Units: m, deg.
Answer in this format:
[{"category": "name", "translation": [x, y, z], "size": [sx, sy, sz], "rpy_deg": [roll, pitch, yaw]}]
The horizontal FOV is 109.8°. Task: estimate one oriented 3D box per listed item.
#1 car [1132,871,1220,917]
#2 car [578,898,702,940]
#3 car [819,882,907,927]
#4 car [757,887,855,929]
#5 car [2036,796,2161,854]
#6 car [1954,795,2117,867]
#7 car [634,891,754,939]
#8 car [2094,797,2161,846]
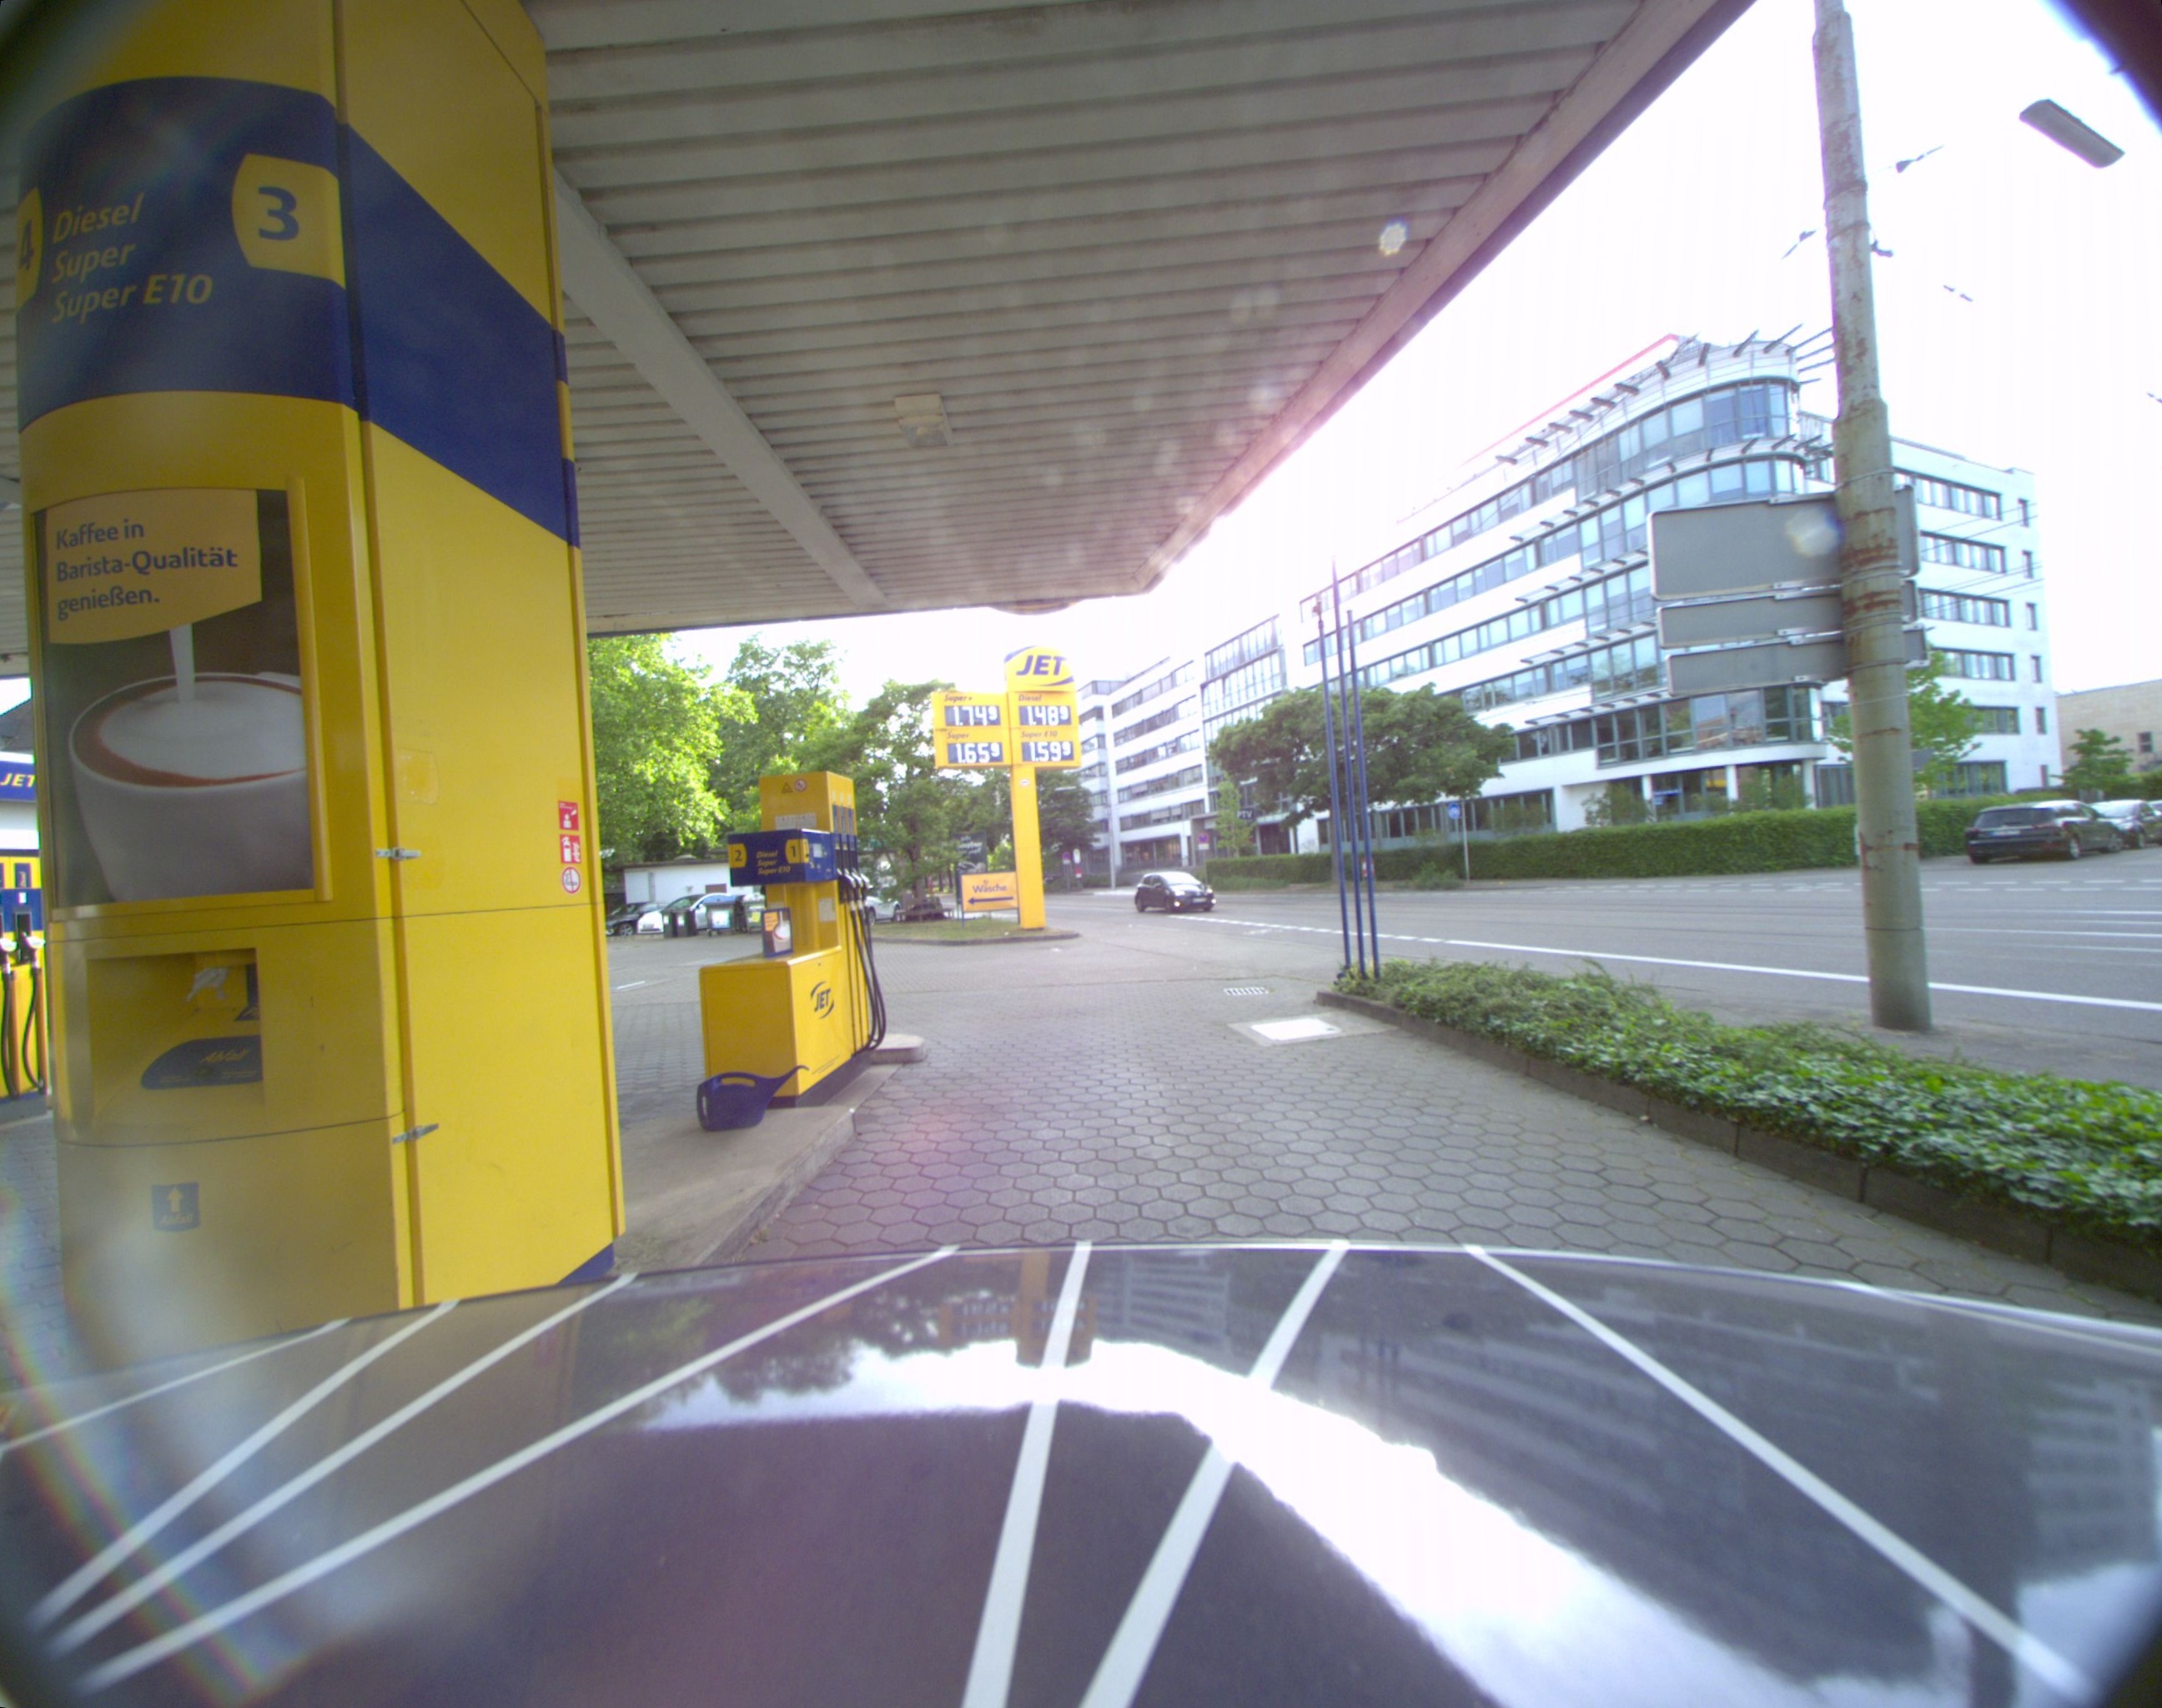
[{"category": "car", "translation": [3.464, 1.448, 28.344], "size": [1.691, 1.463, 3.807], "rpy_deg": [-4, -1, -18]}, {"category": "car", "translation": [-17.788, 2.590, 30.915], "size": [1.771, 1.367, 4.398], "rpy_deg": [-2, -1, 14]}, {"category": "car", "translation": [-8.630, 2.001, 30.509], "size": [1.772, 1.591, 4.398], "rpy_deg": [-4, -3, 6]}, {"category": "car", "translation": [-11.648, 2.266, 32.500], "size": [1.771, 1.591, 4.400], "rpy_deg": [-4, -4, 13]}, {"category": "car", "translation": [32.552, -0.944, 24.102], "size": [4.296, 1.530, 1.945], "rpy_deg": [-4, -1, -27]}, {"category": "car", "translation": [27.281, -0.667, 21.700], "size": [4.296, 1.681, 2.010], "rpy_deg": [-4, -1, -27]}, {"category": "car", "translation": [-15.285, 2.364, 30.321], "size": [1.771, 1.591, 4.398], "rpy_deg": [-2, -1, 14]}, {"category": "car", "translation": [37.134, -1.200, 26.155], "size": [4.296, 1.509, 1.945], "rpy_deg": [-4, -1, -27]}]
